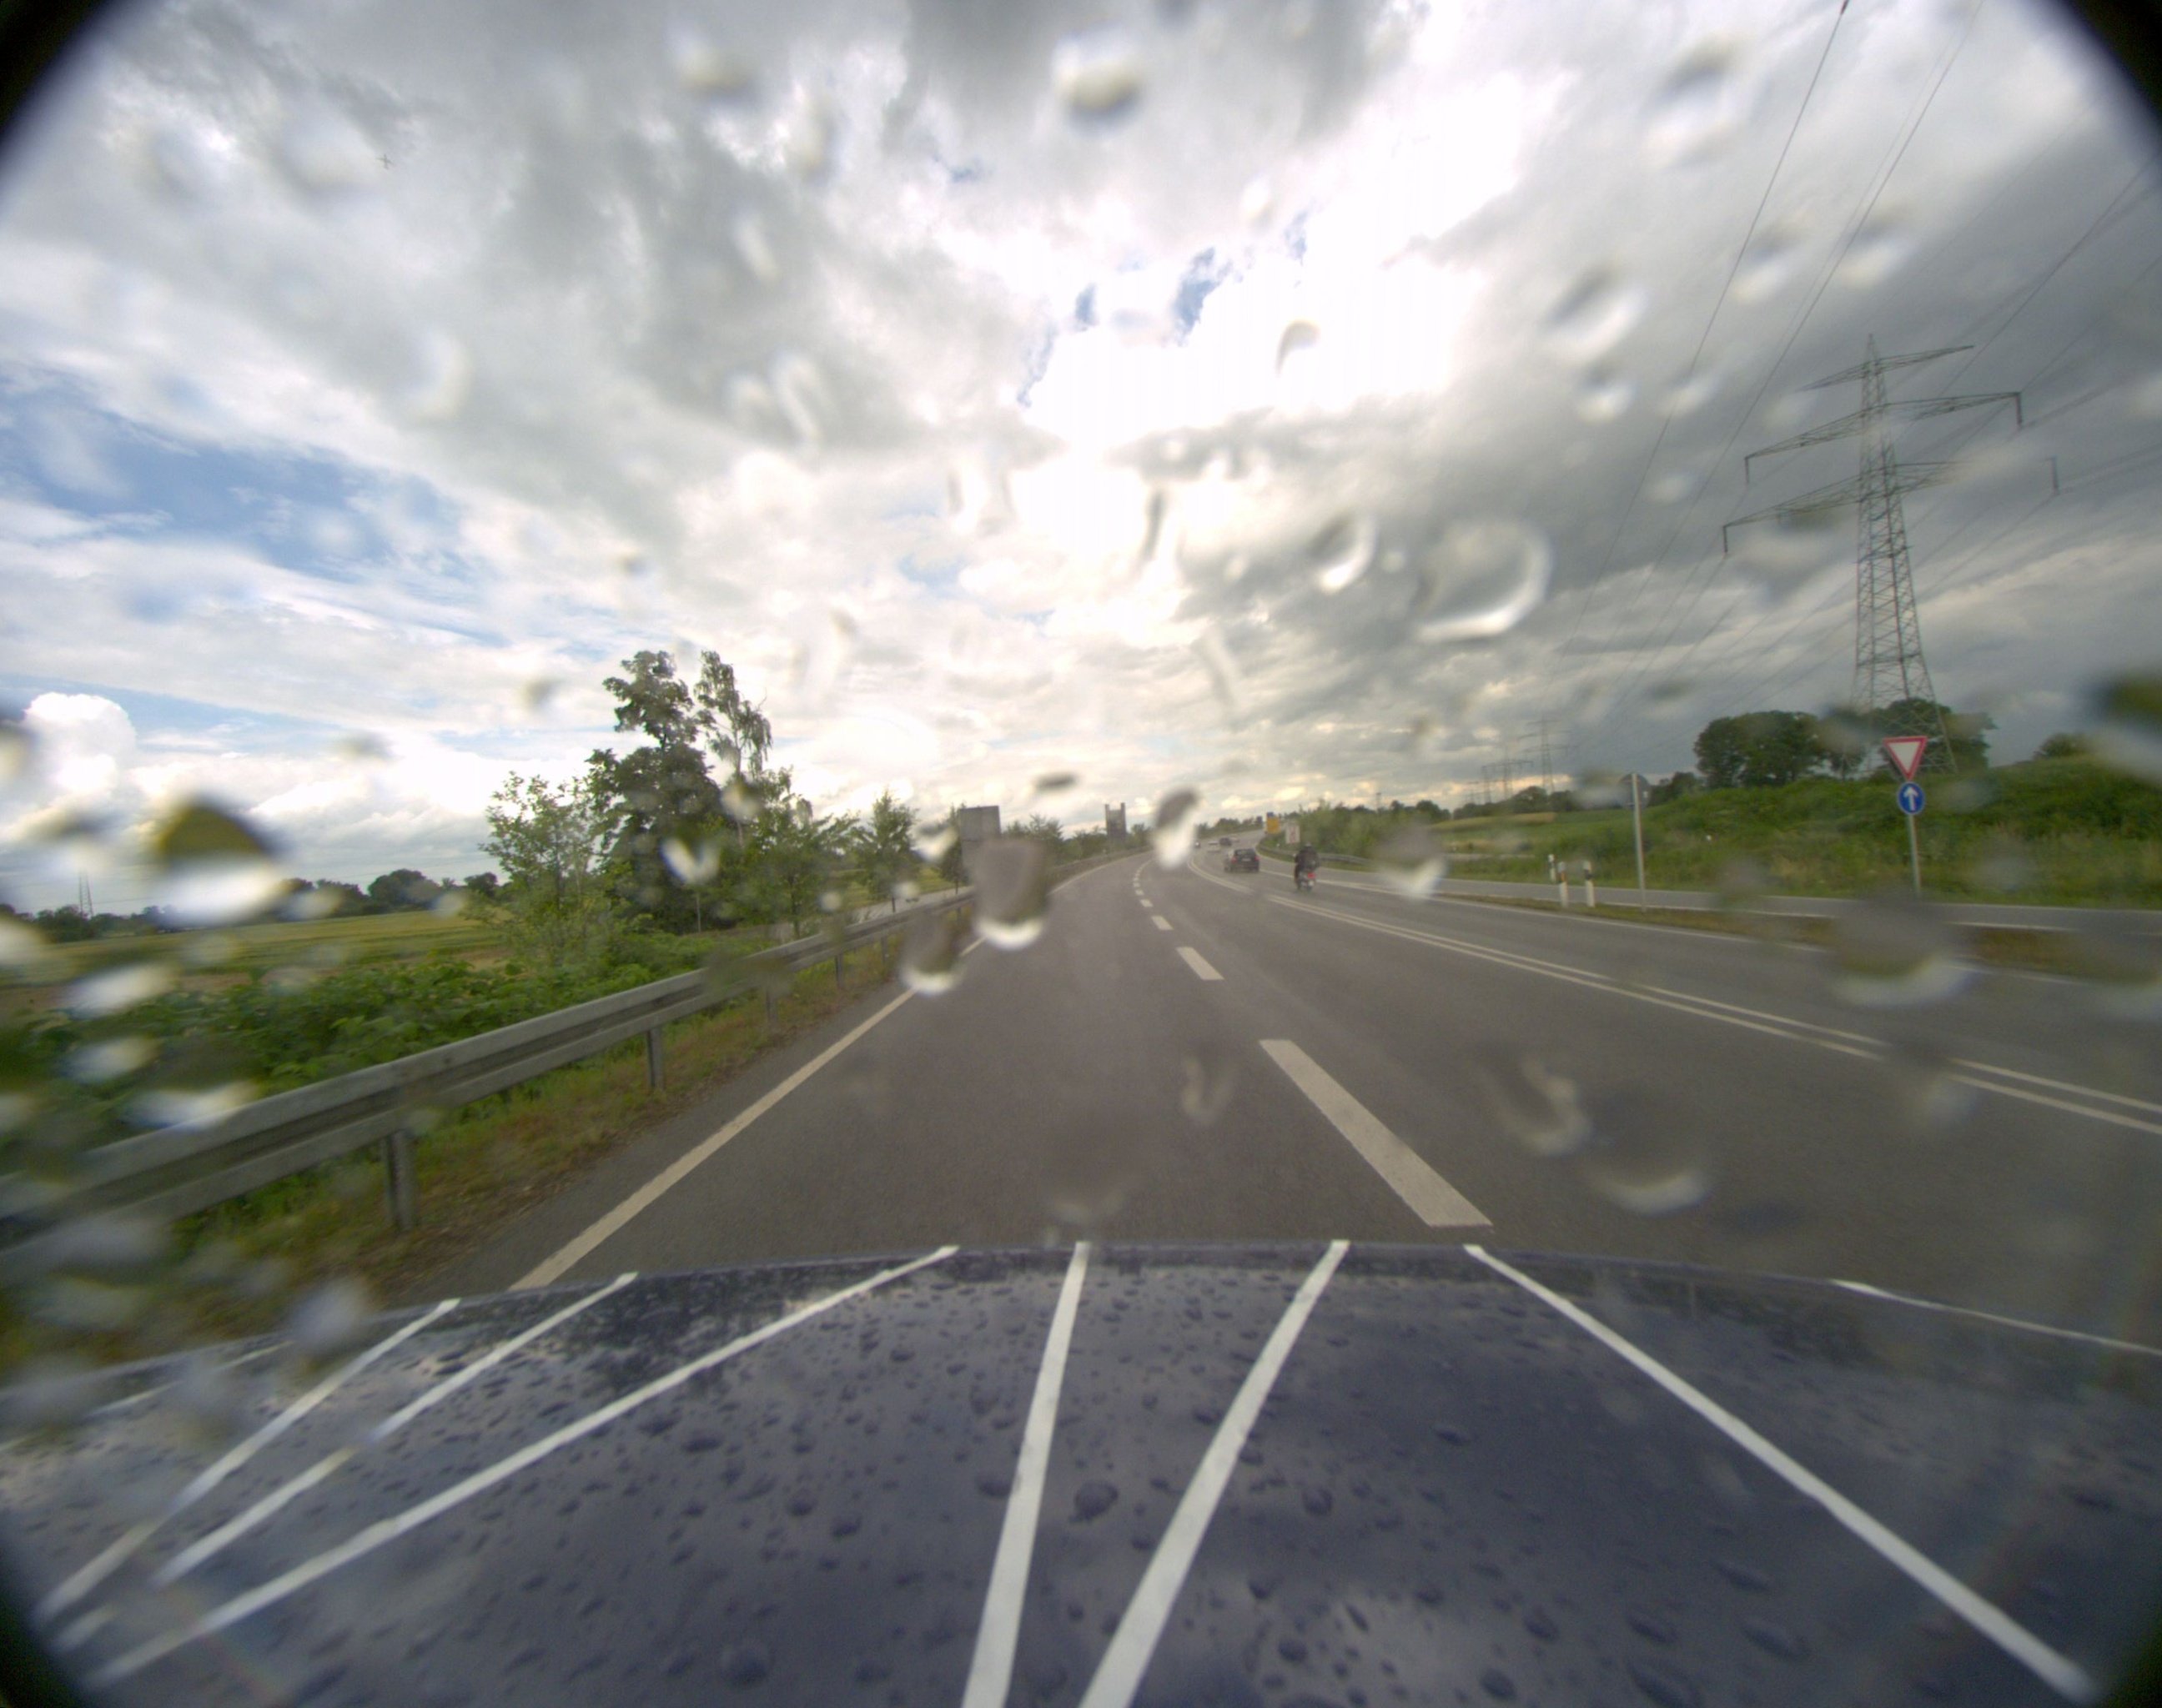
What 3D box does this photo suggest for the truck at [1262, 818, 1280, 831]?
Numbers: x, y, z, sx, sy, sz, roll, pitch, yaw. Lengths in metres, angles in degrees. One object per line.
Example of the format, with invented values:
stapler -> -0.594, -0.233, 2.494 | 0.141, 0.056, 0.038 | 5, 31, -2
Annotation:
truck -> 46.956, -7.295, 187.691 | 2.257, 3.138, 6.701 | 0, 3, 34

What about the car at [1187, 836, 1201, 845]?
car -> 18.891, -2.262, 126.649 | 1.747, 1.488, 4.054 | -3, 1, 15

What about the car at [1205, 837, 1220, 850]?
car -> 17.127, -1.348, 99.212 | 1.708, 1.472, 4.611 | -2, 2, 8

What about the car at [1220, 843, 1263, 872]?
car -> 9.538, 0.166, 45.487 | 1.804, 1.584, 4.225 | -2, 1, 2

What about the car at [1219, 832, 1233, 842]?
car -> 23.947, -2.798, 125.483 | 1.802, 1.566, 4.263 | -1, 2, 17

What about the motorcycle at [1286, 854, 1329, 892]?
motorcycle -> 7.781, 0.626, 26.201 | 0.804, 1.231, 2.185 | -3, 0, 1

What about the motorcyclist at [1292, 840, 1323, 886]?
motorcyclist -> 7.758, 0.311, 26.061 | 0.804, 1.526, 0.824 | -3, 0, 2

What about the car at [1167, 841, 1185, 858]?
car -> 10.565, -0.542, 84.018 | 1.795, 1.758, 4.002 | -3, 1, 8

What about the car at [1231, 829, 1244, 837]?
car -> 31.138, -4.235, 151.223 | 1.681, 1.449, 4.079 | -1, 3, 22
